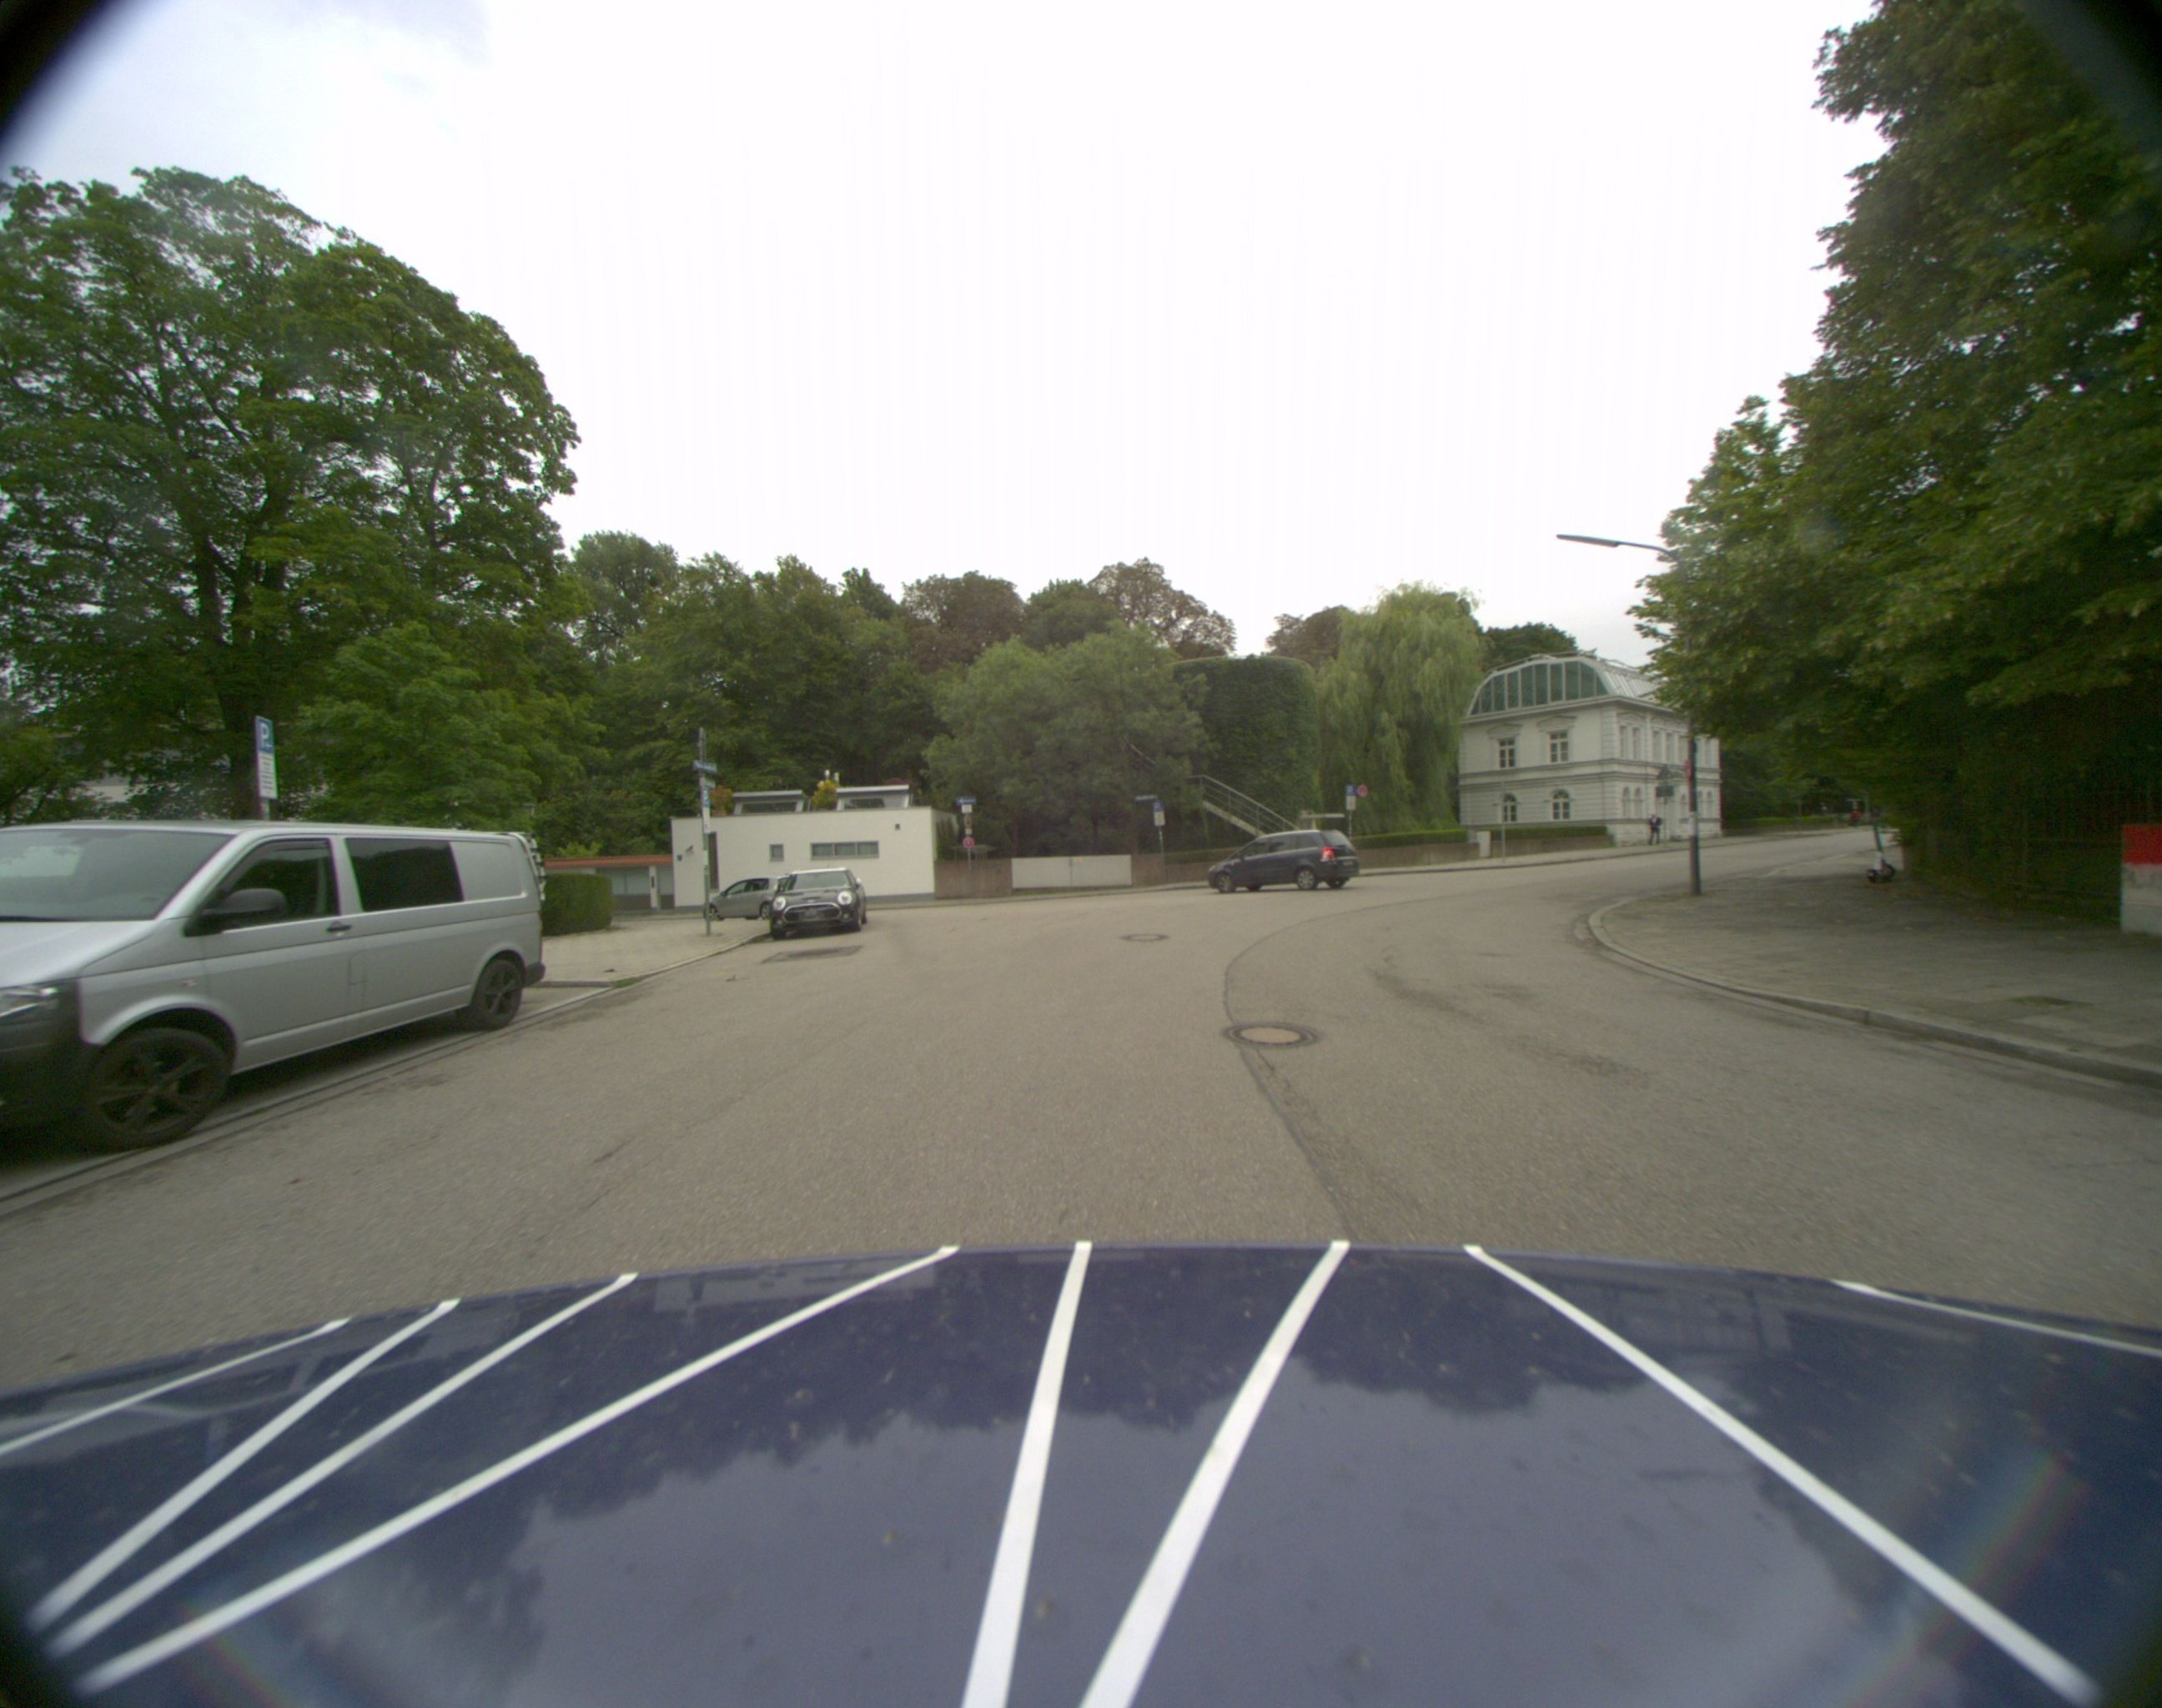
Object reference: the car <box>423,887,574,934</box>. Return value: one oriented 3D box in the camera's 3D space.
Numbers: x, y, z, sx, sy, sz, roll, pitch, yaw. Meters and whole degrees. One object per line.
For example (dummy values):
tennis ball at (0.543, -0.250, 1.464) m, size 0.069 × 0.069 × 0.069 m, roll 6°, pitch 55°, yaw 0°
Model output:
car at (-20.814, 1.995, 27.233) m, size 4.009 × 1.438 × 1.942 m, roll -2°, pitch 0°, yaw 7°

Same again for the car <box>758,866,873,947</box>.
car at (-5.773, 1.062, 17.011) m, size 1.898 × 1.438 × 4.264 m, roll -4°, pitch 0°, yaw -14°

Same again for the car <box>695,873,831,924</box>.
car at (-10.429, 1.460, 24.908) m, size 4.005 × 1.437 × 1.945 m, roll -4°, pitch -2°, yaw 27°

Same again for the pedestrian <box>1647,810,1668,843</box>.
pedestrian at (30.975, -1.483, 40.854) m, size 0.769 × 1.697 × 0.678 m, roll -6°, pitch 7°, yaw -38°

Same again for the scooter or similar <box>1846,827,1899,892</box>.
scooter or similar at (15.589, 0.097, 14.962) m, size 1.422 × 1.182 × 0.391 m, roll -3°, pitch -2°, yaw -34°

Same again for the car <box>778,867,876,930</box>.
car at (-7.192, 1.214, 21.280) m, size 1.900 × 1.438 × 4.007 m, roll -5°, pitch 0°, yaw -27°

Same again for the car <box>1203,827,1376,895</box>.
car at (5.838, 0.200, 21.680) m, size 2.003 × 1.683 × 4.323 m, roll -4°, pitch 1°, yaw -40°

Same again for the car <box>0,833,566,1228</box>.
car at (-6.380, 0.837, 5.764) m, size 1.941 × 1.894 × 5.068 m, roll 0°, pitch 0°, yaw -6°
